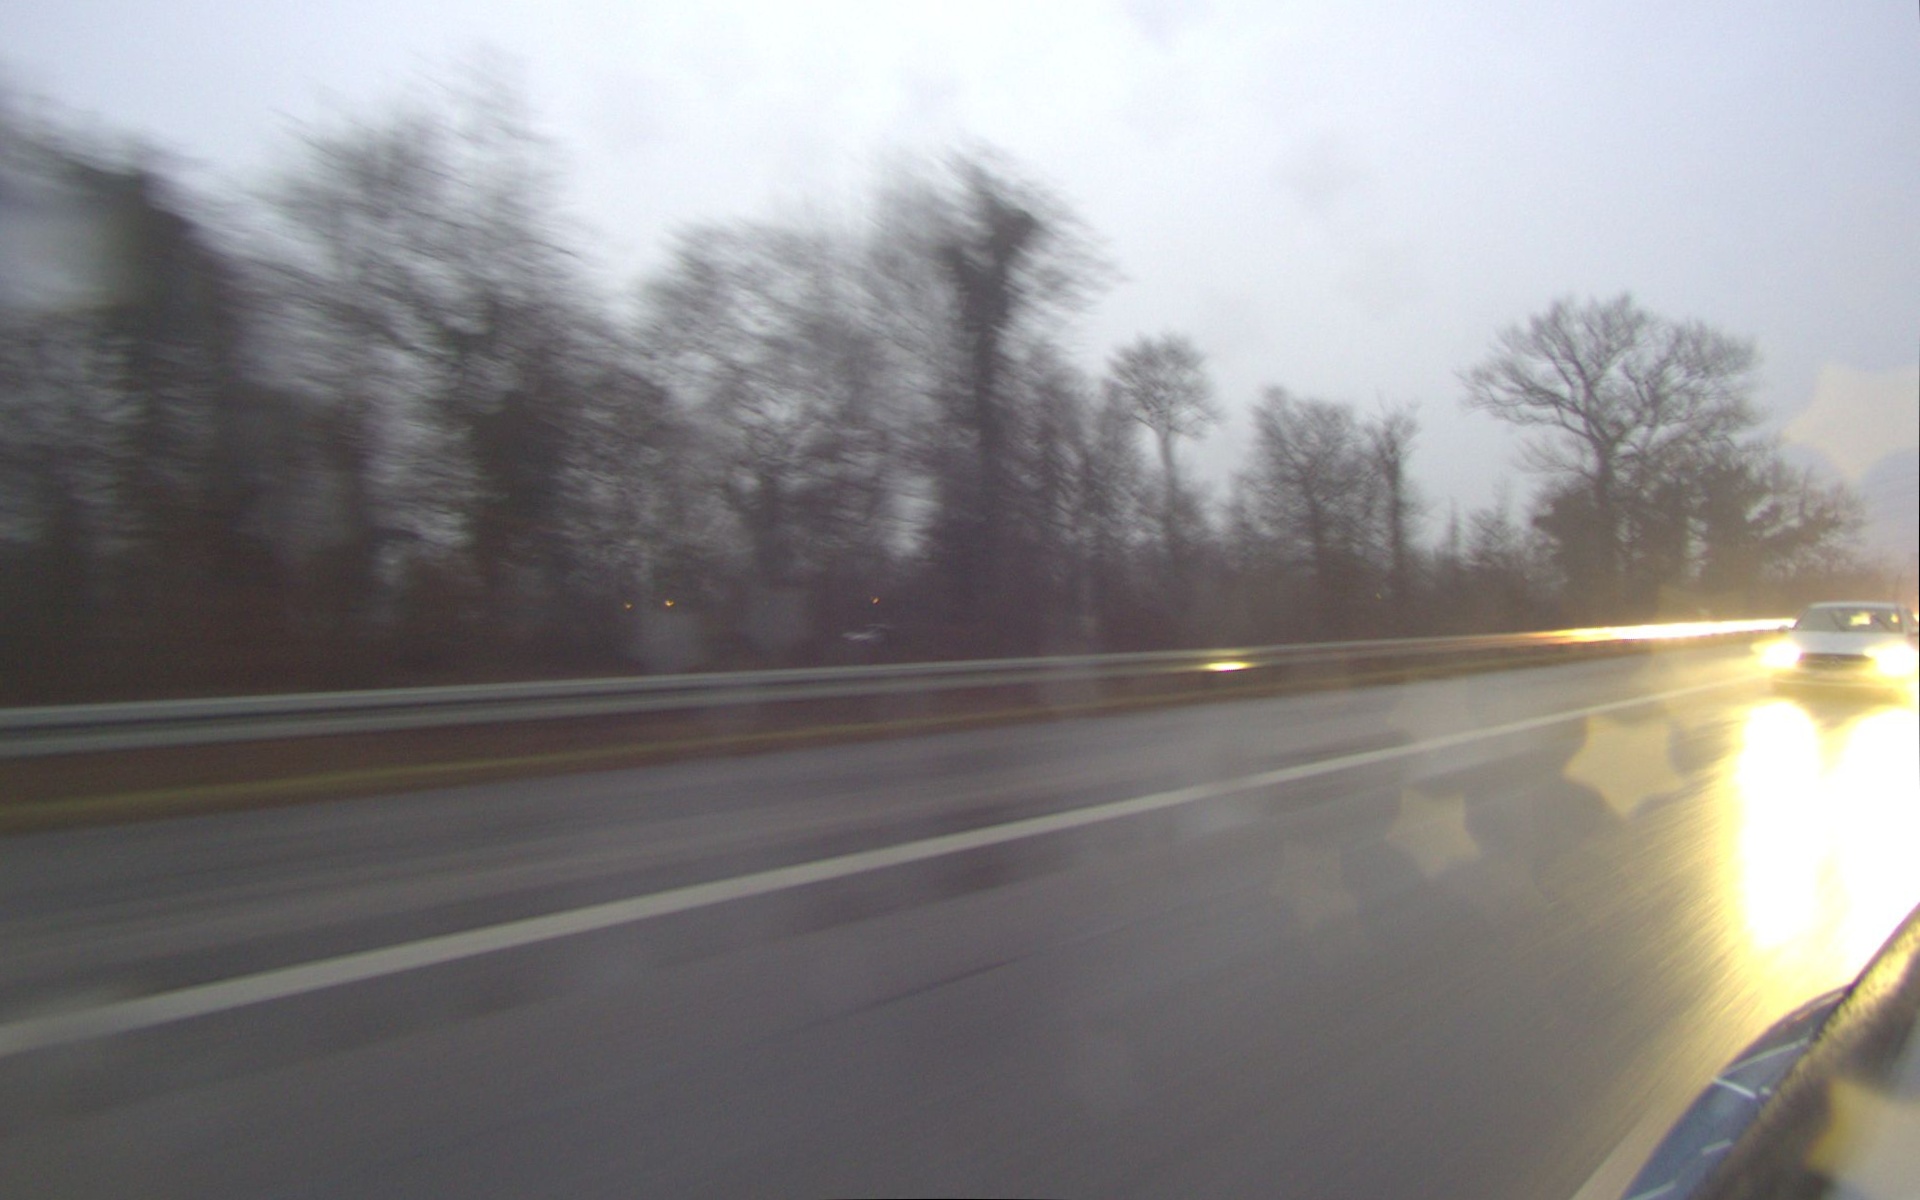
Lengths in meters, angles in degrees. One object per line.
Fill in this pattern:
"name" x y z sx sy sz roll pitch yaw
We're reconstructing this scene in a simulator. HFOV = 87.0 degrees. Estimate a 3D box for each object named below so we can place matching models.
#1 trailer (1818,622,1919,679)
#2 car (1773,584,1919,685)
"trailer" 17.869 0.941 19.401 2.899 0.937 1.751 0 0 -41
"car" 15.369 0.513 17.208 3.745 1.536 1.789 0 0 -41
